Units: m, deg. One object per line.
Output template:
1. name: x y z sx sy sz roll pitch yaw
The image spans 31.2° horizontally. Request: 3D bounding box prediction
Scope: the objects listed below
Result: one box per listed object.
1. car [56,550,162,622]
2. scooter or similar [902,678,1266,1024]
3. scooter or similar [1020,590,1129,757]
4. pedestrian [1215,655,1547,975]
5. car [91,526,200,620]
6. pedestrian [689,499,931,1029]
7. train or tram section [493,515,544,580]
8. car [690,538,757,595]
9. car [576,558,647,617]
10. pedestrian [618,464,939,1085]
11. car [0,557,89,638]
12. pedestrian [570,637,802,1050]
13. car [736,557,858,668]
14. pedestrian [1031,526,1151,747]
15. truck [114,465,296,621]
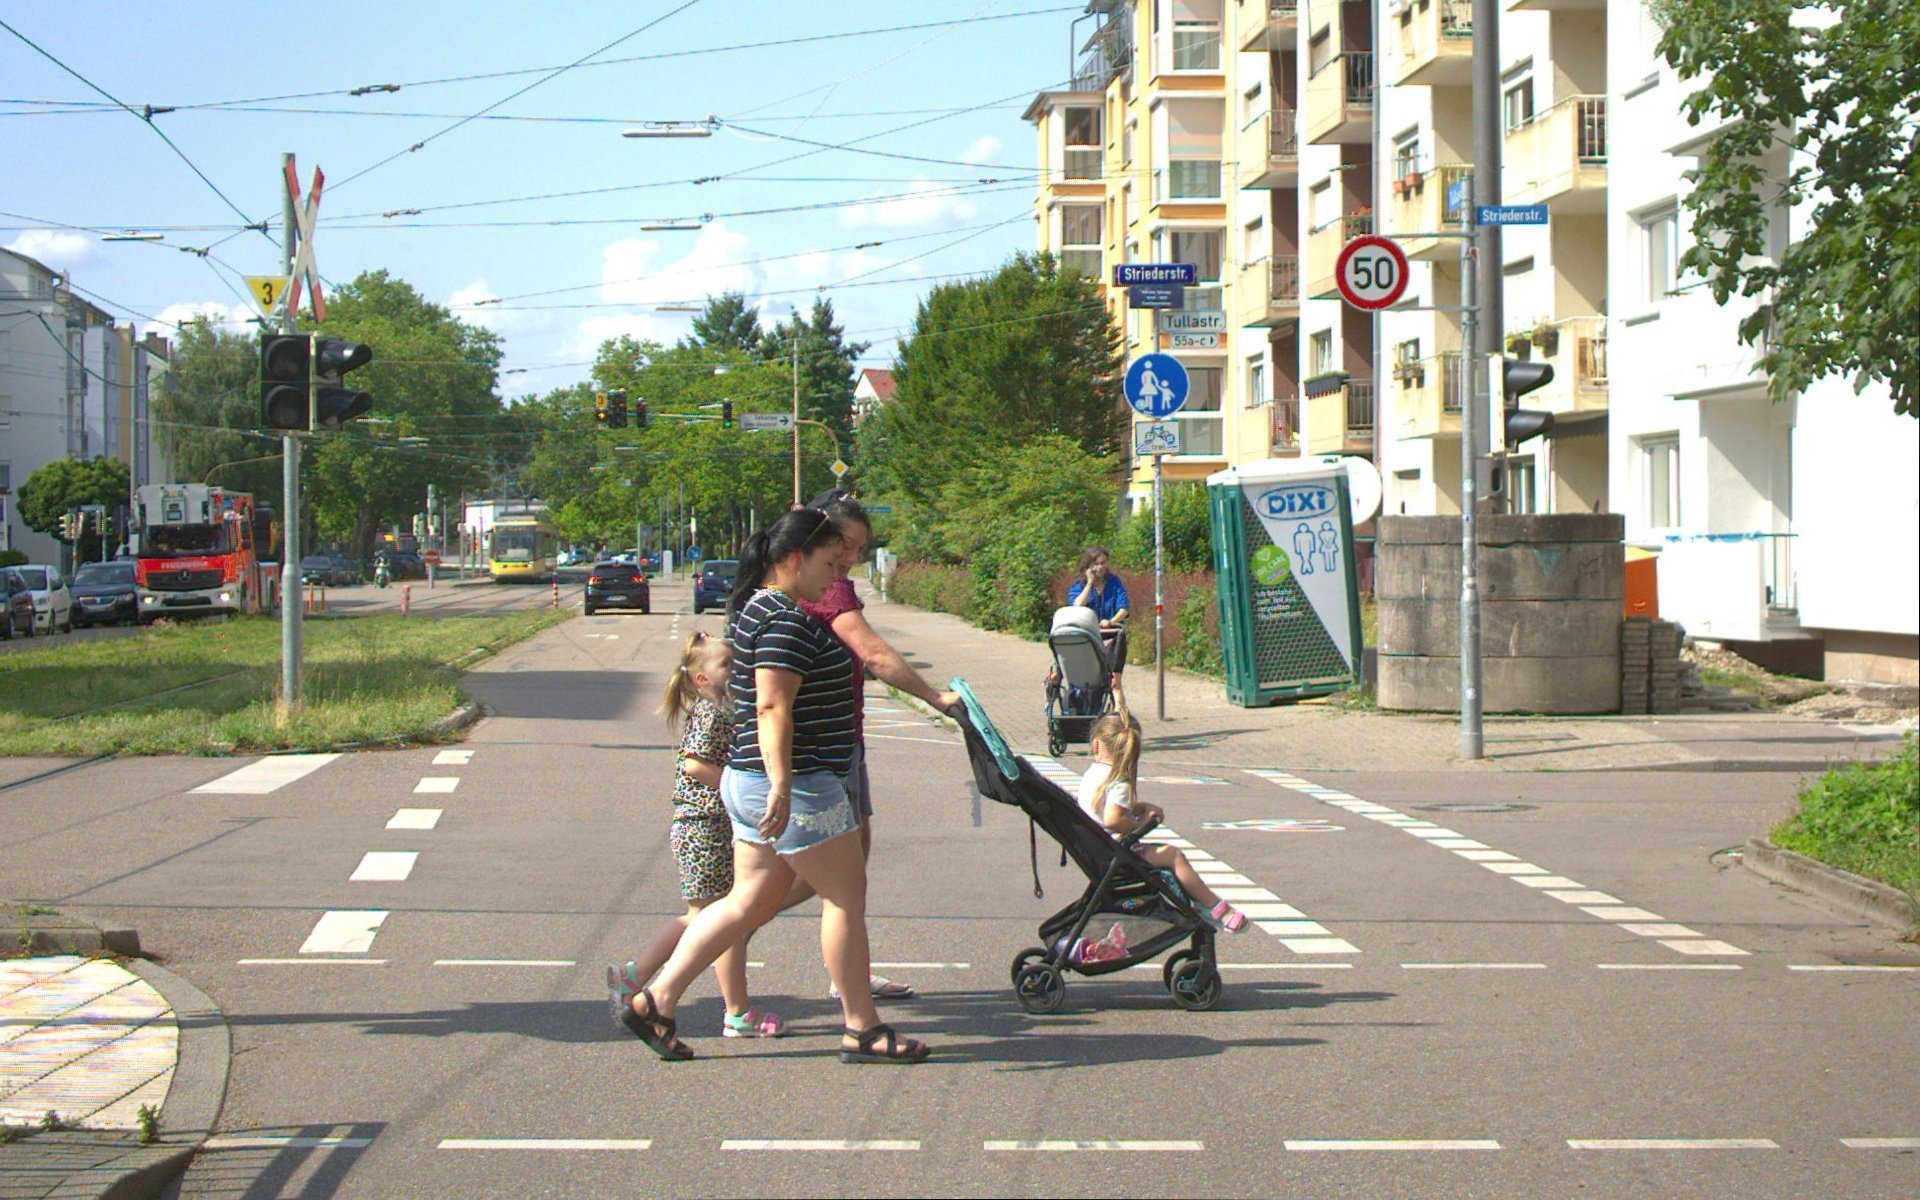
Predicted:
1. car: -21.068 -0.353 85.213 1.909 1.705 4.001 1 0 -5
2. scooter or similar: 0.385 0.799 11.144 1.100 1.052 0.650 1 0 -3
3. scooter or similar: 0.942 0.596 28.114 0.662 1.299 0.868 -2 1 15
4. pedestrian: 2.963 1.471 25.009 1.993 2.007 4.000 1 0 2
5. car: -21.559 -0.718 91.198 1.967 2.362 5.202 1 0 -4
6. pedestrian: -0.487 0.514 11.104 0.705 1.642 0.637 2 0 -3
7. train or tram section: -21.573 -2.562 168.382 2.258 3.058 8.135 -1 1 -6
8. car: -6.540 -0.921 95.336 1.743 1.502 4.000 1 0 -3
9. car: -9.396 -0.344 92.959 1.743 1.502 4.001 1 0 -4
10. pedestrian: -0.496 0.467 9.666 0.845 1.662 0.799 -1 0 -1
11. car: -20.470 -0.081 75.334 1.993 1.705 4.001 1 0 -4
12. pedestrian: -0.812 0.710 10.359 0.636 1.176 0.799 -1 0 -1
13. car: -2.295 0.155 48.271 1.622 1.460 3.511 1 0 -3
14. pedestrian: 1.108 0.295 28.912 0.701 1.783 1.029 -3 1 15
15. truck: -18.019 -1.333 82.651 2.666 3.459 10.169 1 0 -4
